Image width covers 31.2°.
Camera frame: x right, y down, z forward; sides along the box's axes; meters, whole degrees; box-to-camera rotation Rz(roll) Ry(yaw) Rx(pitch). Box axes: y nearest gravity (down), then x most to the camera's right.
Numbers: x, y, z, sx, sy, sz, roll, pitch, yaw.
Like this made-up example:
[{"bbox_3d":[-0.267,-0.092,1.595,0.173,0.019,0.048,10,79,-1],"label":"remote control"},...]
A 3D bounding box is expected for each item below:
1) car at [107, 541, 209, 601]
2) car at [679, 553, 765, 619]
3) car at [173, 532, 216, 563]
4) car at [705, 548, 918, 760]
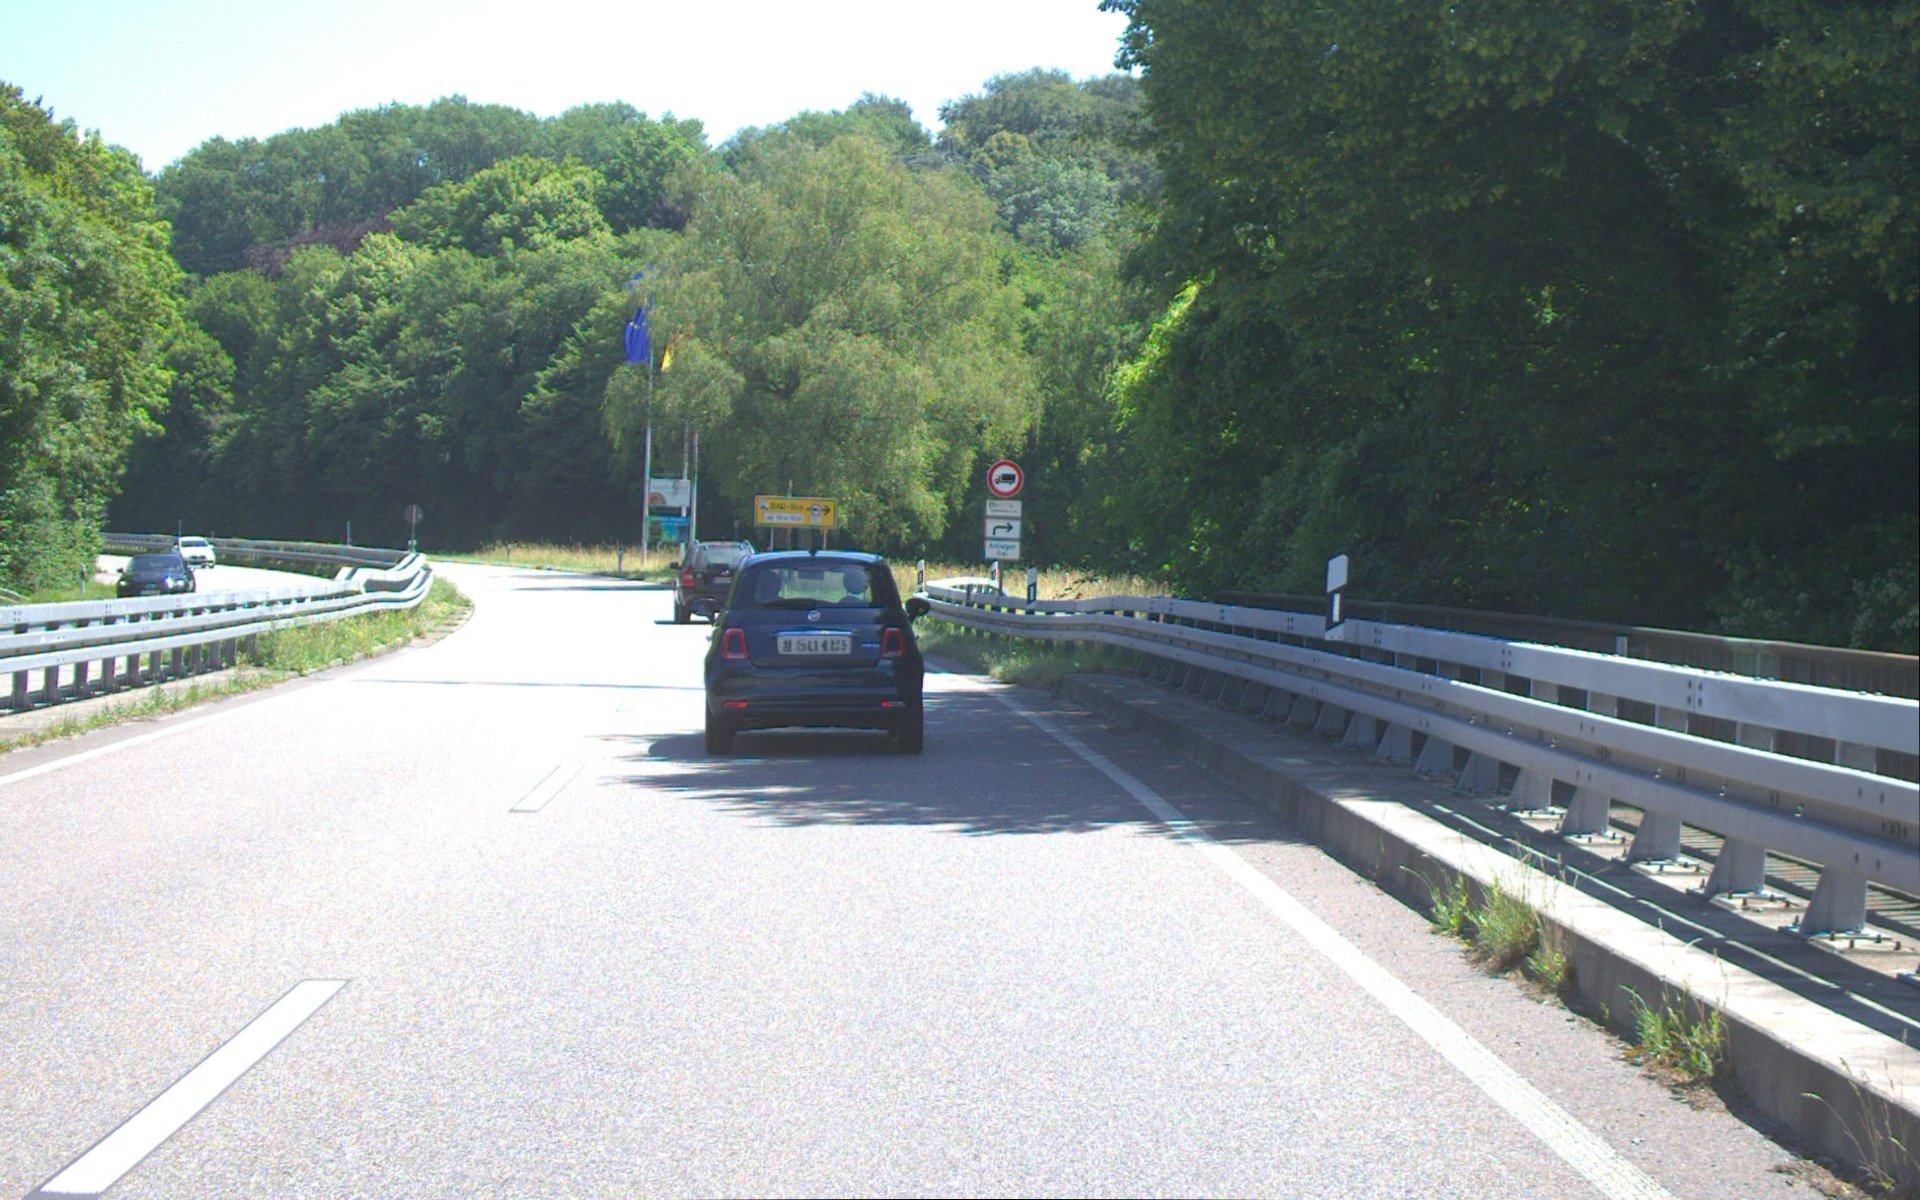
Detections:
[{"bbox_3d":[-20.859,-0.779,89.540,1.755,1.523,4.685,0,1,-3],"label":"car"},{"bbox_3d":[-4.914,-0.310,70.706,1.525,1.309,3.416,0,1,-8],"label":"car"},{"bbox_3d":[-39.179,-2.690,175.875,1.755,1.567,4.415,0,1,-17],"label":"car"},{"bbox_3d":[-1.086,0.357,26.326,1.513,1.495,3.590,0,1,-1],"label":"car"}]
